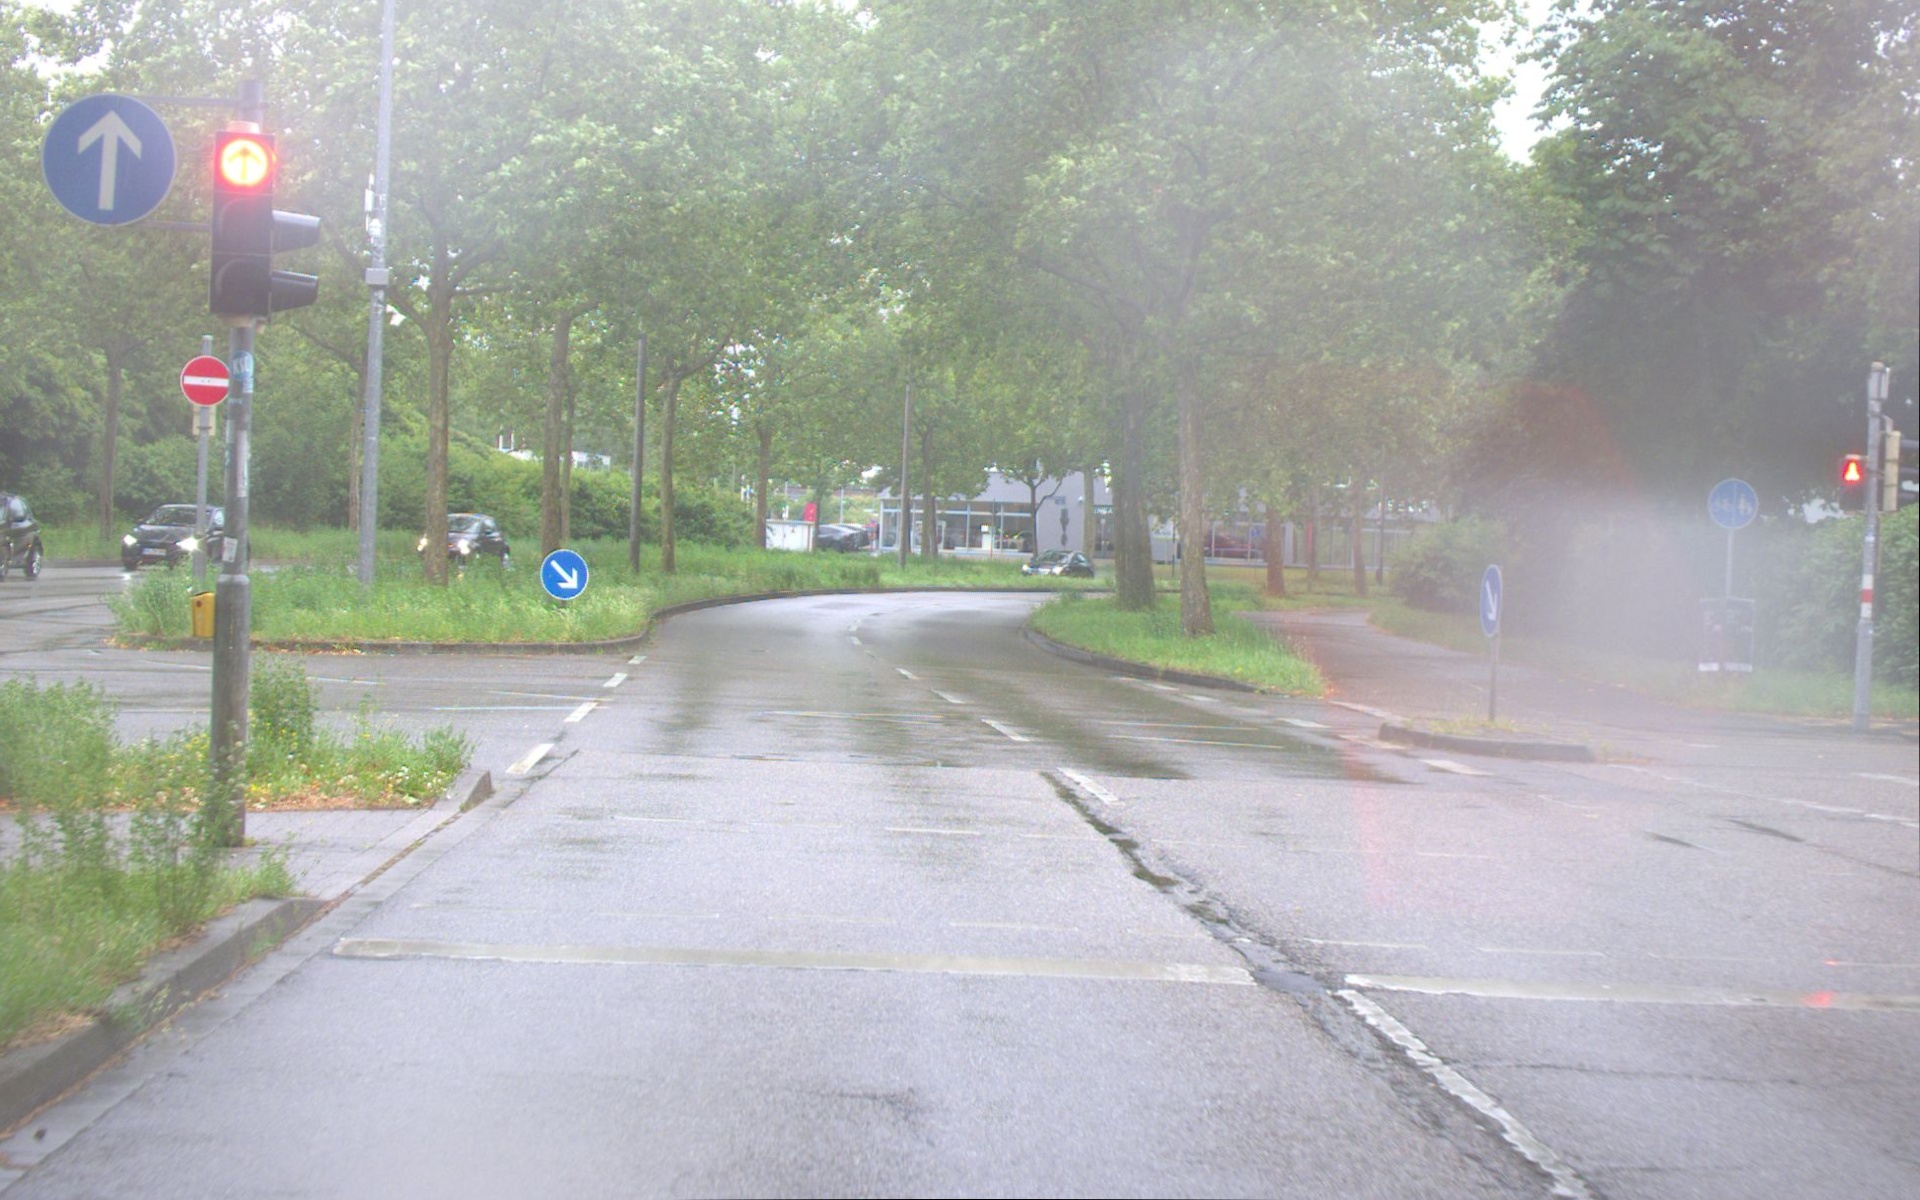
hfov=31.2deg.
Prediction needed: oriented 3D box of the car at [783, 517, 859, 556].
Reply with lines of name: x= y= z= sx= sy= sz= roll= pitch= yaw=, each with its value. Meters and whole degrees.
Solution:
car: x=-7.903 y=-3.603 z=194.704 sx=3.986 sy=2.007 sz=2.000 roll=2 pitch=0 yaw=-10

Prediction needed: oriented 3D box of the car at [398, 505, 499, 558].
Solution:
car: x=-13.877 y=-1.856 z=93.413 sx=1.587 sy=1.368 sz=4.261 roll=2 pitch=1 yaw=7

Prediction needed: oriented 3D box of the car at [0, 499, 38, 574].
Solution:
car: x=-18.162 y=-1.192 z=63.086 sx=1.587 sy=1.368 sz=3.334 roll=2 pitch=1 yaw=0

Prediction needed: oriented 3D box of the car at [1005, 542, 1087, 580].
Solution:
car: x=3.480 y=-1.553 z=137.783 sx=2.005 sy=1.447 sz=4.987 roll=2 pitch=1 yaw=17

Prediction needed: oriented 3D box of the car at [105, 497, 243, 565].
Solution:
car: x=-16.891 y=-1.481 z=74.050 sx=1.587 sy=1.368 sz=4.261 roll=2 pitch=1 yaw=6
